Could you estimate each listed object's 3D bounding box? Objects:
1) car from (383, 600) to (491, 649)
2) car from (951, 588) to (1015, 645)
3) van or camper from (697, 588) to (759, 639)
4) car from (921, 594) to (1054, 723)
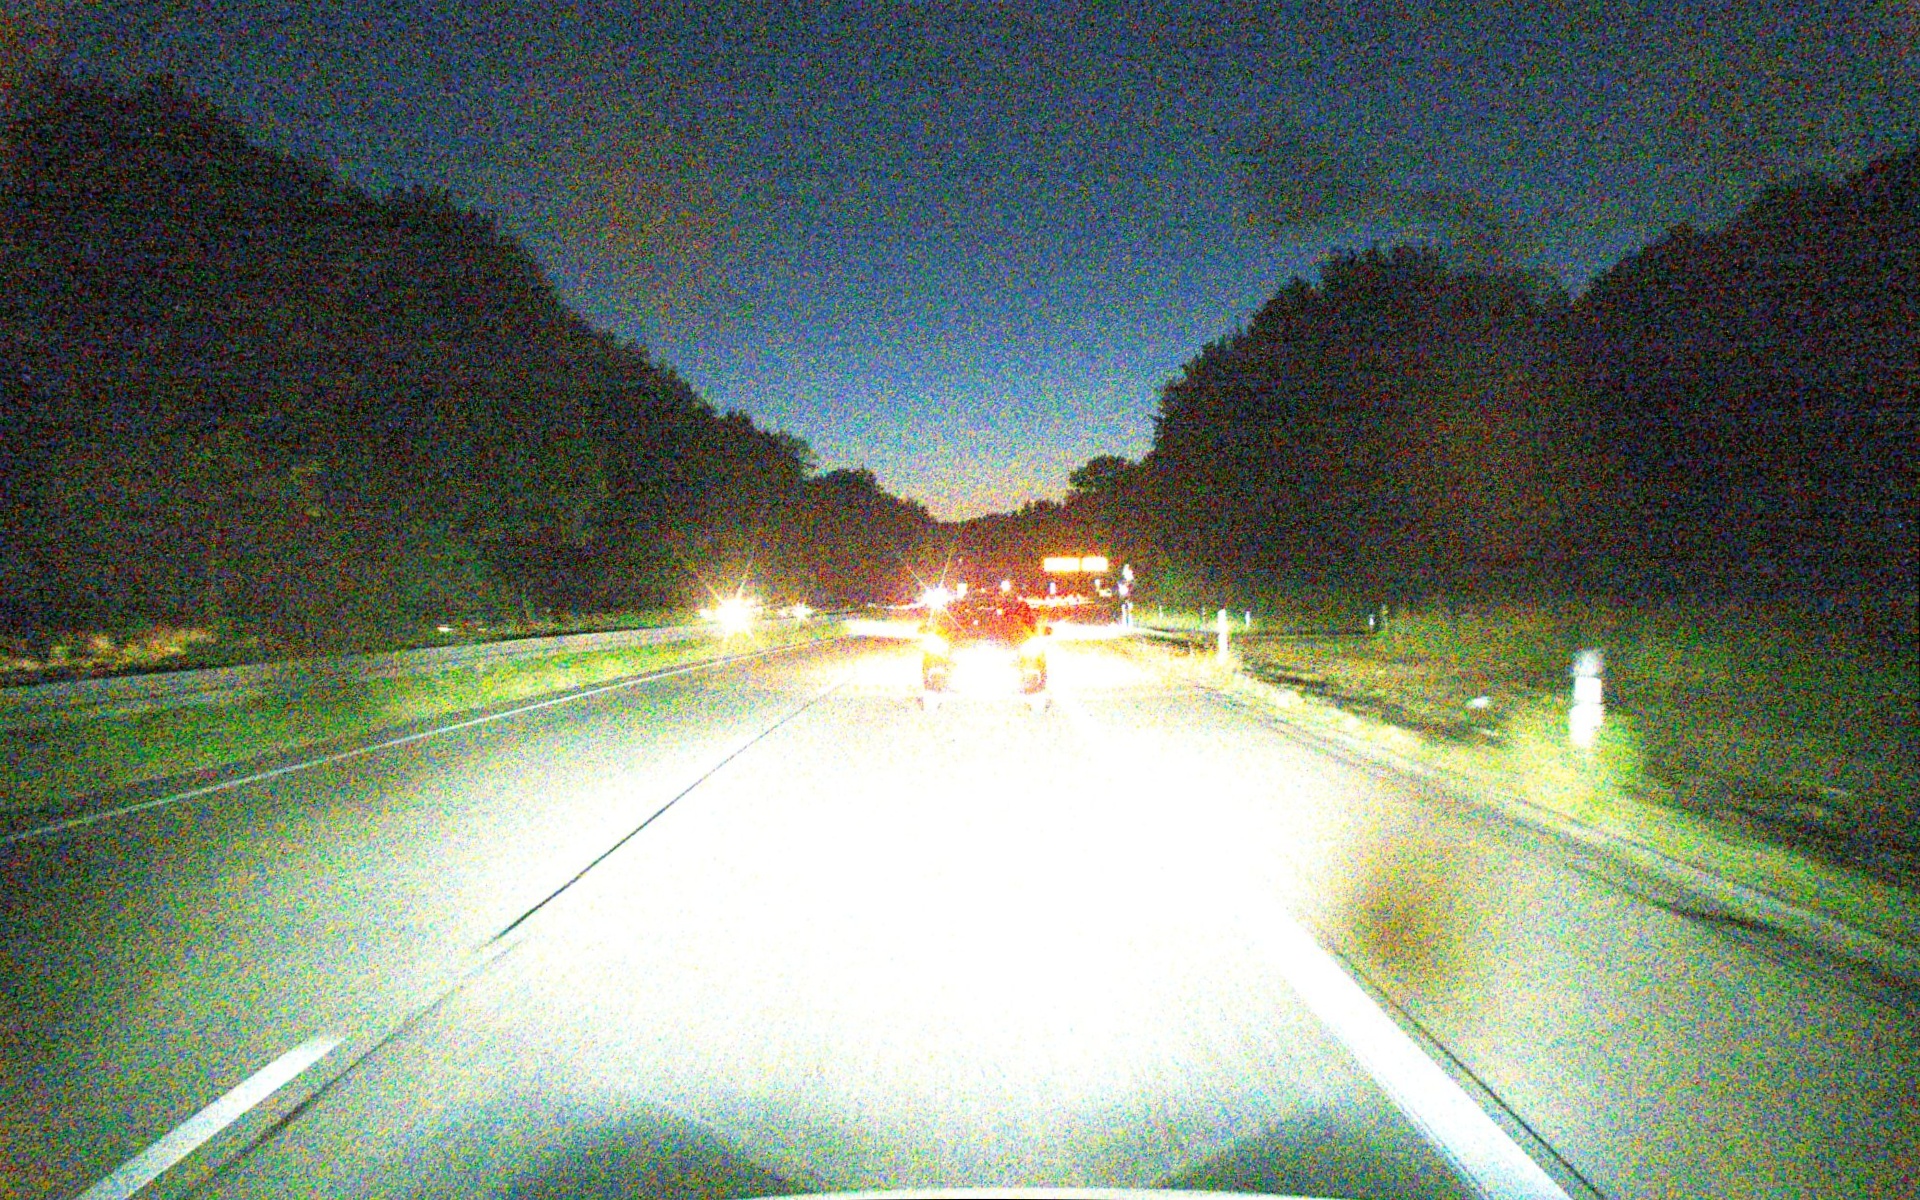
[{"bbox_3d":[-17.676,0.796,56.126,1.783,1.467,4.478,-2,0,7],"label":"car"},{"bbox_3d":[0.765,0.482,52.417,1.866,1.728,4.002,0,1,3],"label":"car"},{"bbox_3d":[-12.800,0.701,91.778,2.247,2.663,7.666,-1,0,1],"label":"van or camper"},{"bbox_3d":[0.293,0.714,22.309,1.556,1.534,3.998,1,0,-2],"label":"car"}]
